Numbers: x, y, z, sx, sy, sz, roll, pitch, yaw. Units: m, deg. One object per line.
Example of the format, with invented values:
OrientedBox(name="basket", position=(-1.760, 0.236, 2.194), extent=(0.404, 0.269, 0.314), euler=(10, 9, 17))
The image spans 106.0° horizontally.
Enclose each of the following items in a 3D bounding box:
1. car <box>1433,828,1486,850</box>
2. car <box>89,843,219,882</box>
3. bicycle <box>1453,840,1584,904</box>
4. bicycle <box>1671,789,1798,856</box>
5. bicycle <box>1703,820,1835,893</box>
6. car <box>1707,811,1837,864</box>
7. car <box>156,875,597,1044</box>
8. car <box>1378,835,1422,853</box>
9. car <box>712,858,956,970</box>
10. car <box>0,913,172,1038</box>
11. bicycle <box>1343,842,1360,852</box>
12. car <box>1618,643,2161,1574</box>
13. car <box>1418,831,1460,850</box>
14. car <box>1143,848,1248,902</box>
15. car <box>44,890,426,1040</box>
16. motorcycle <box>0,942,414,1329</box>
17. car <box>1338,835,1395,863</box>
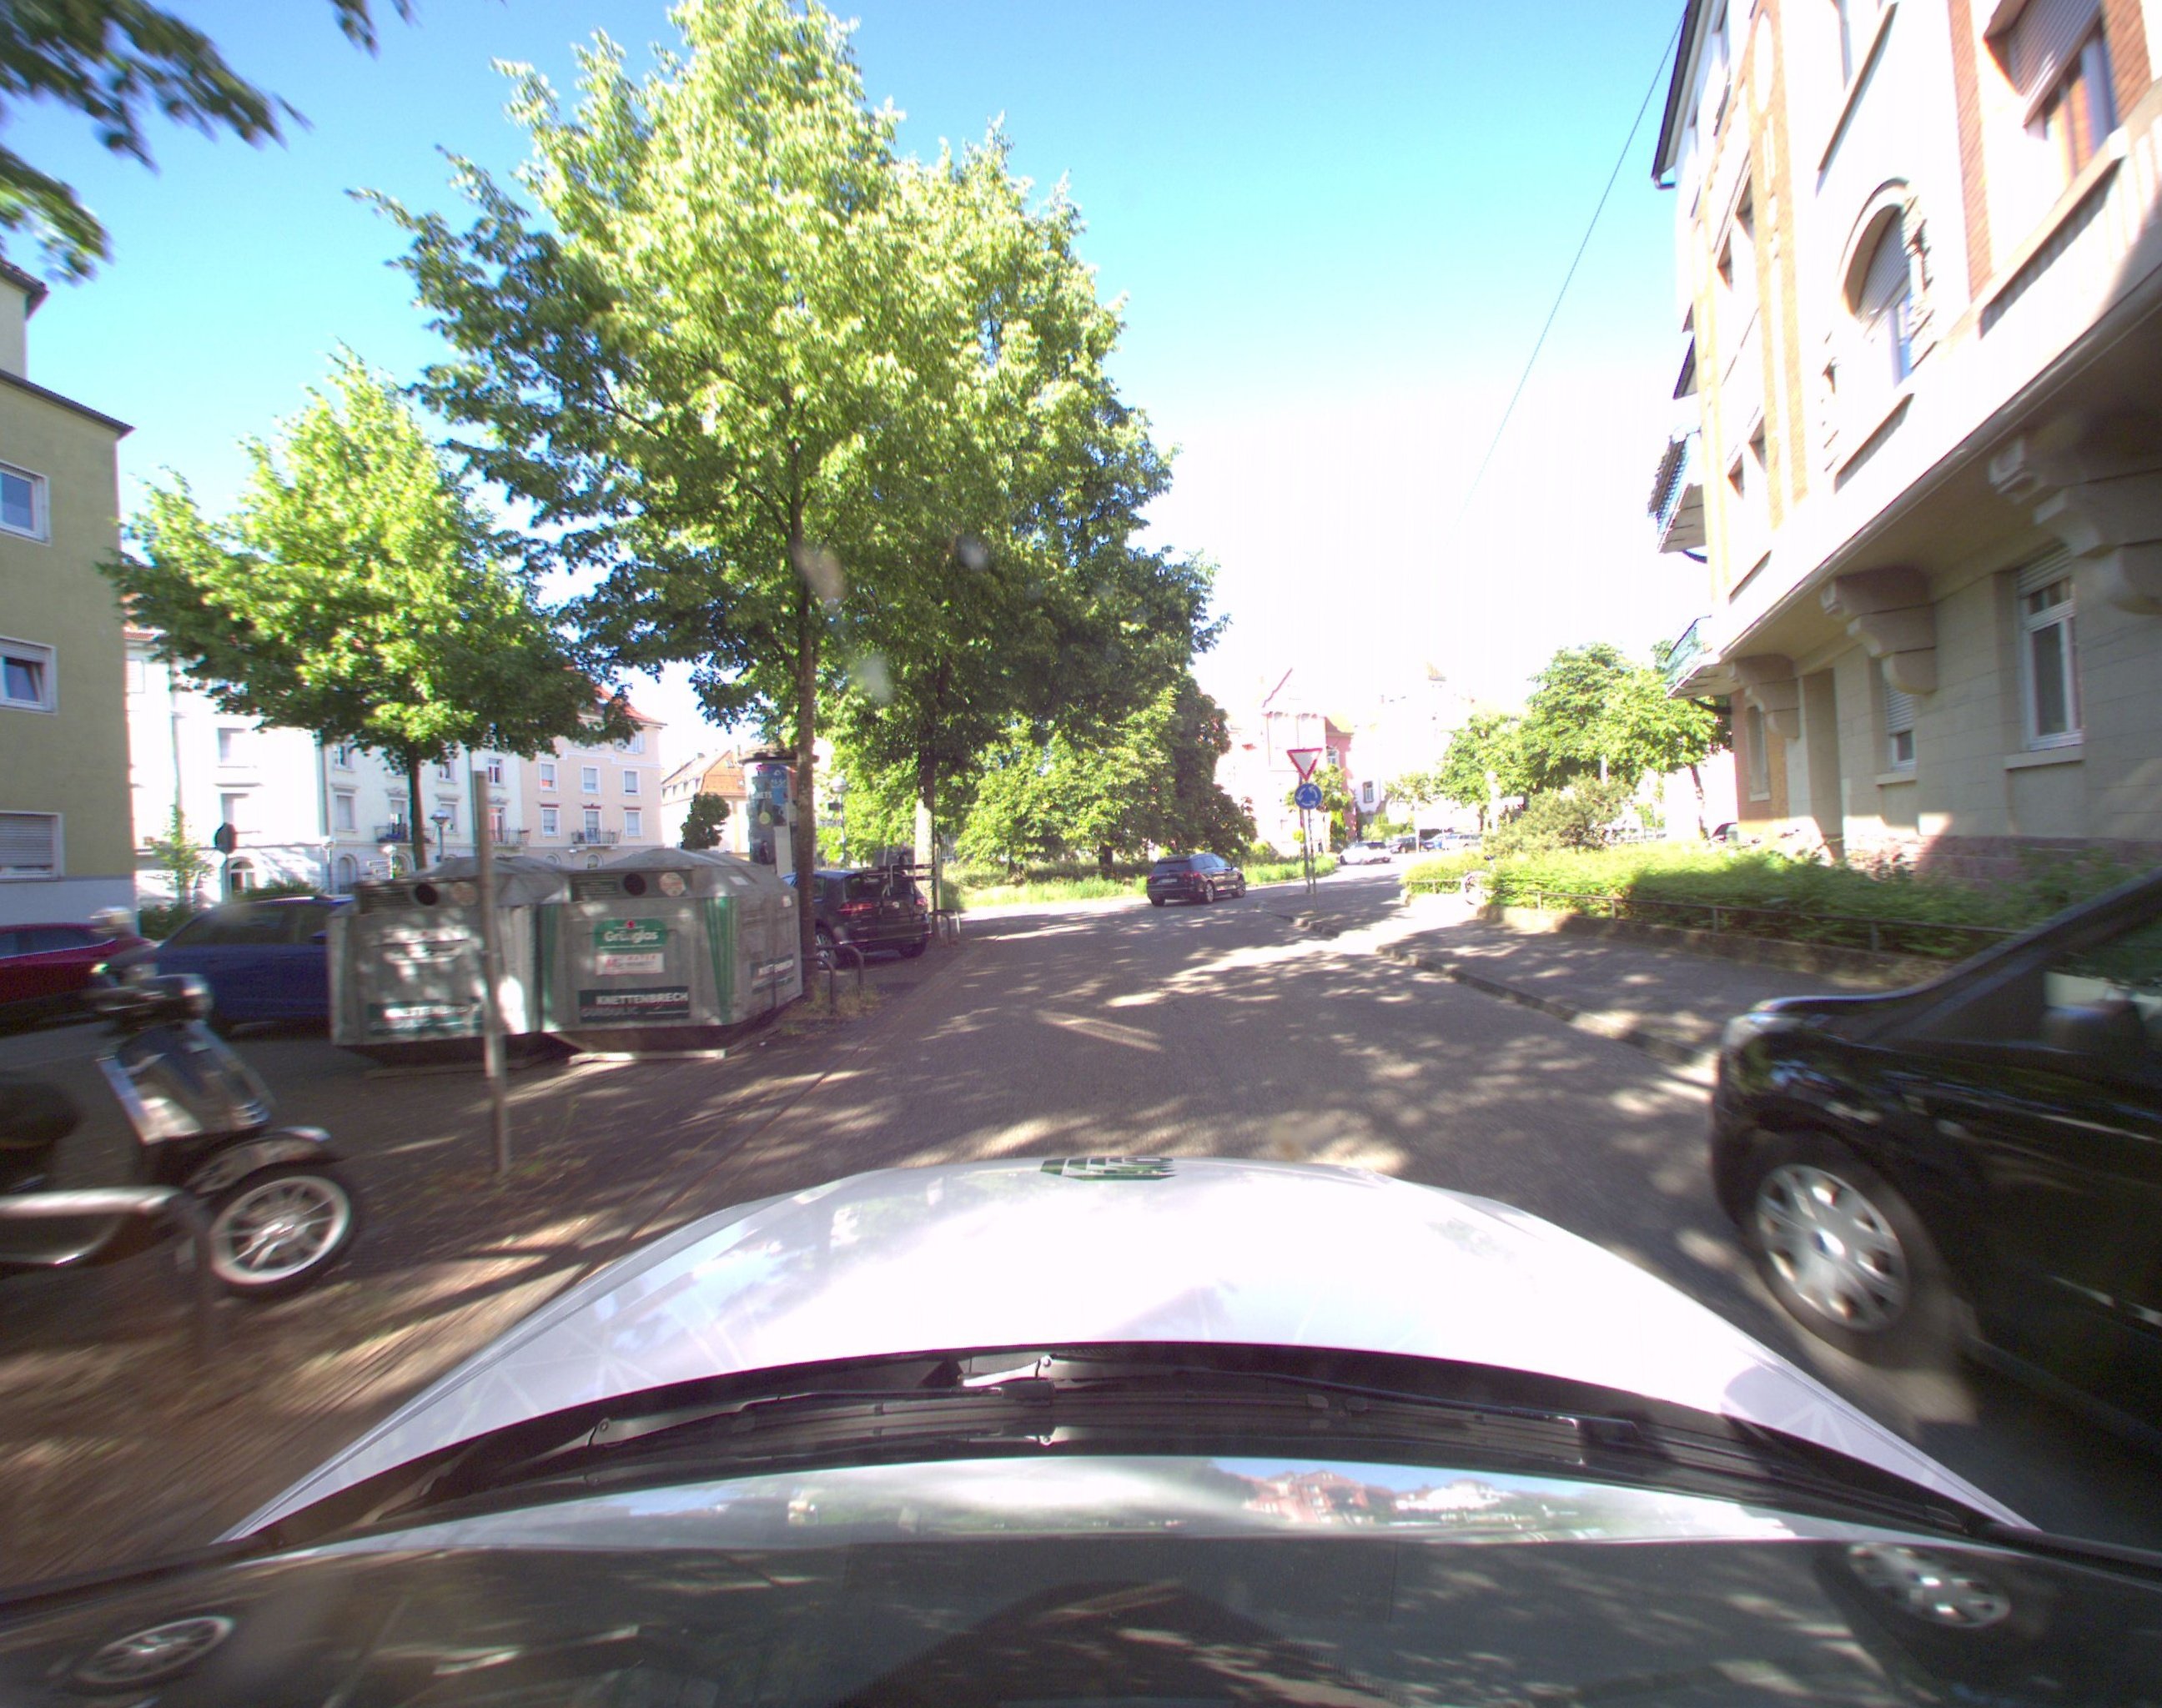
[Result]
OrientedBox(name="car", position=(29.329, -1.137, 63.091), extent=(3.986, 1.455, 1.546), euler=(-4, 0, -27))
OrientedBox(name="car", position=(-40.454, 0.356, 35.656), extent=(3.418, 1.466, 1.472), euler=(-4, 0, -34))
OrientedBox(name="bicycle", position=(8.660, 0.375, 16.199), extent=(2.202, 1.159, 0.390), euler=(-4, 0, 27))
OrientedBox(name="bicycle", position=(11.527, -0.546, 14.421), extent=(1.662, 1.061, 0.390), euler=(-4, 0, 27))
OrientedBox(name="bicycle", position=(10.930, 0.050, 12.981), extent=(1.544, 1.061, 0.273), euler=(-4, 0, 27))
OrientedBox(name="car", position=(22.303, -0.531, 26.308), extent=(3.514, 1.472, 1.562), euler=(-4, 0, -19))
OrientedBox(name="car", position=(-7.615, 1.113, 8.926), extent=(3.762, 1.466, 1.650), euler=(-4, 0, 12))
OrientedBox(name="car", position=(28.006, -0.904, 71.435), extent=(3.659, 1.369, 1.741), euler=(-4, 0, -33))
OrientedBox(name="car", position=(-4.051, 0.903, 13.021), extent=(4.089, 1.481, 1.787), euler=(-3, -1, 41))
OrientedBox(name="car", position=(-15.259, 1.745, 10.856), extent=(1.524, 1.526, 4.165), euler=(-4, 0, 0))
OrientedBox(name="bicycle", position=(24.317, -0.638, 73.317), extent=(0.478, 0.800, 2.020), euler=(-3, 0, -12))
OrientedBox(name="car", position=(3.065, 0.514, 1.200), extent=(1.795, 1.871, 4.273), euler=(0, 0, 1))
OrientedBox(name="car", position=(32.476, -1.238, 73.849), extent=(3.485, 1.488, 1.656), euler=(-4, 0, -28))
OrientedBox(name="car", position=(3.596, 0.605, 24.934), extent=(1.698, 1.483, 4.170), euler=(-3, -1, 29))
OrientedBox(name="car", position=(-12.366, 1.495, 12.376), extent=(1.745, 1.580, 3.992), euler=(-4, 0, -6))
OrientedBox(name="motorcycle", position=(-3.669, 0.997, 2.967), extent=(1.934, 1.171, 0.518), euler=(-4, 0, -2))
OrientedBox(name="car", position=(17.613, -0.281, 50.344), extent=(1.714, 1.564, 3.760), euler=(-3, -1, -9))
